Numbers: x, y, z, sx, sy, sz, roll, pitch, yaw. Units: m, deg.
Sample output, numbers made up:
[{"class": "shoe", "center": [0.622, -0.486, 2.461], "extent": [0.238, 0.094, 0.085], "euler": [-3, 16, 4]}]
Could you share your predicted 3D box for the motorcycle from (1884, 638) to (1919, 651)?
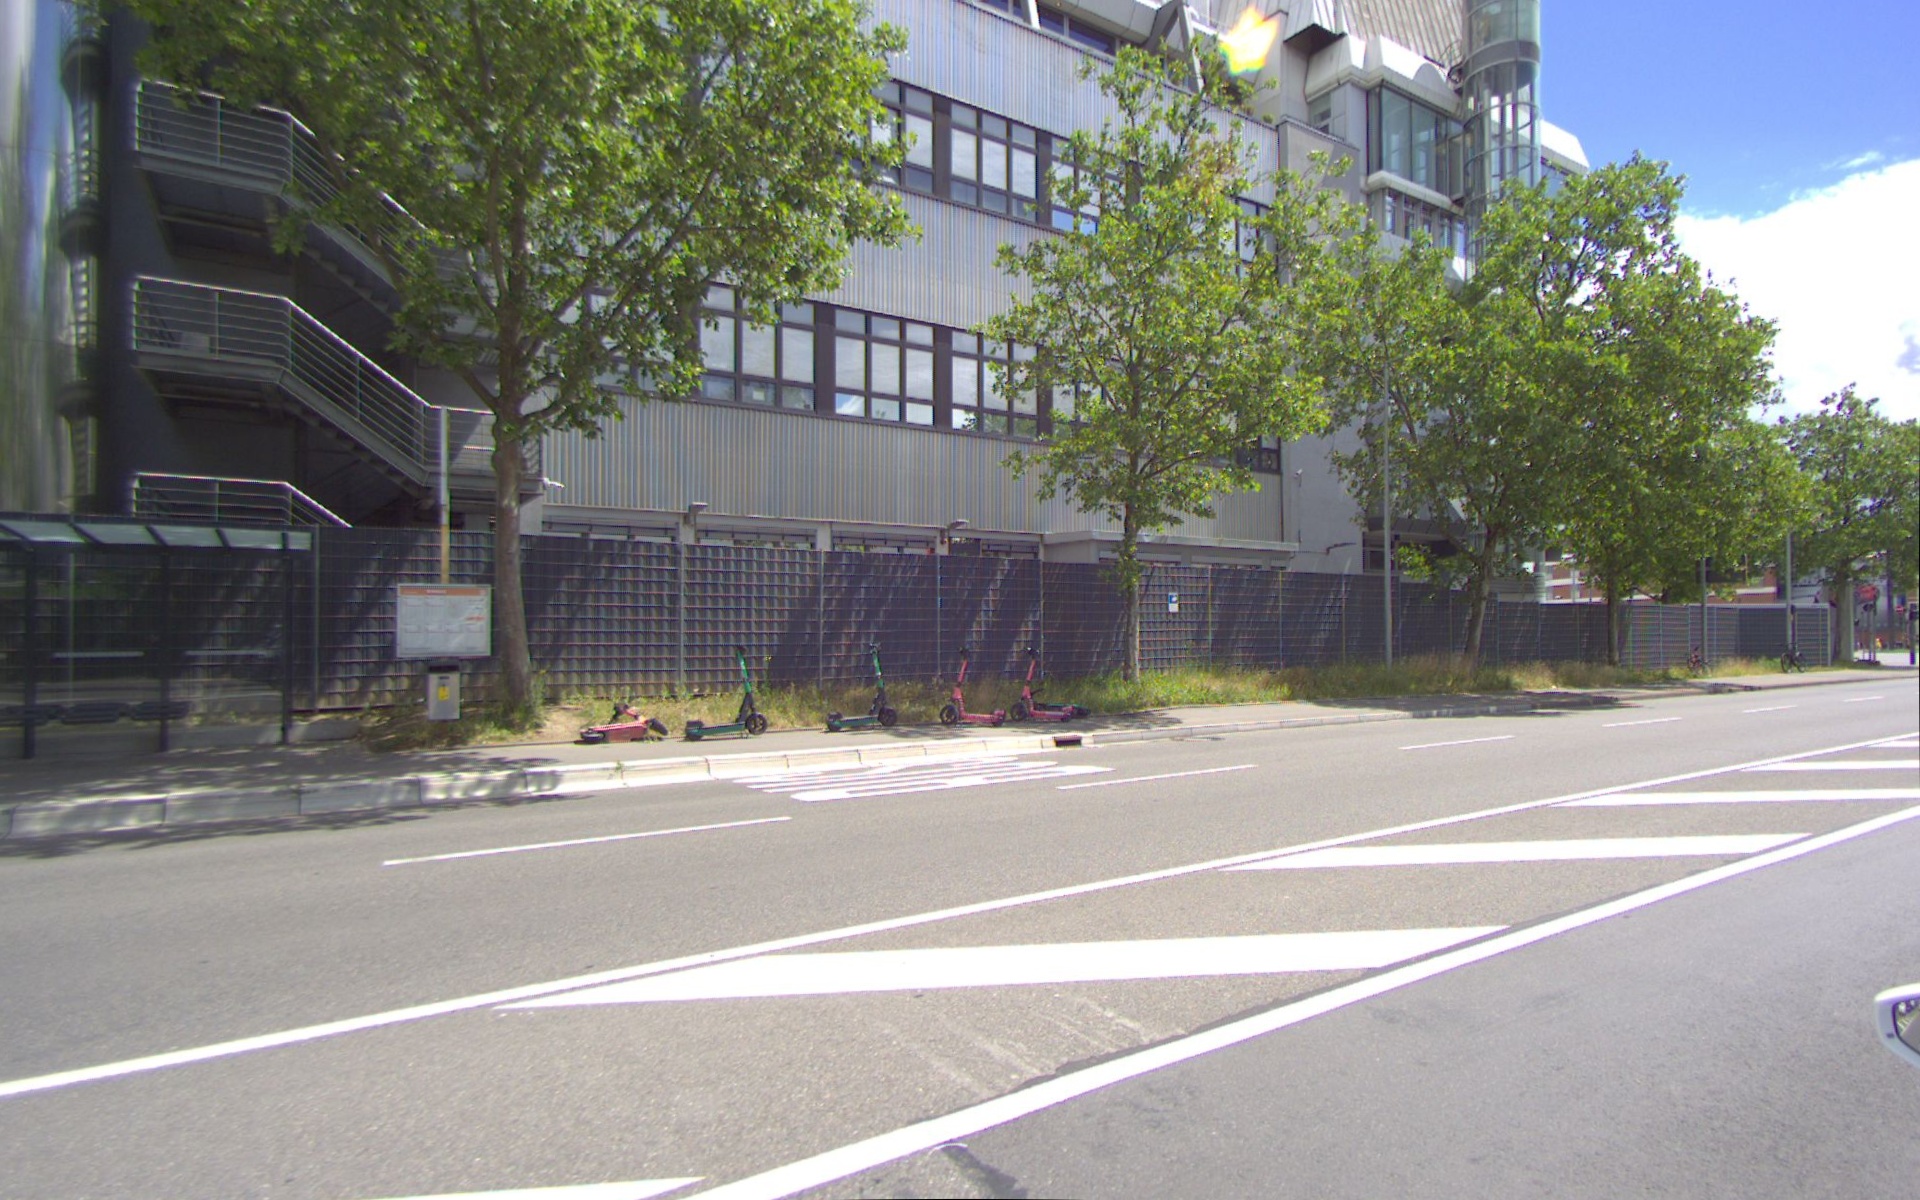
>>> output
[{"class": "motorcycle", "center": [94.904, 4.512, 100.971], "extent": [0.905, 1.211, 2.904], "euler": [2, -1, -14]}]

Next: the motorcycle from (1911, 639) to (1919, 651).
[{"class": "motorcycle", "center": [98.468, 4.626, 101.858], "extent": [0.905, 1.211, 2.904], "euler": [2, -1, -14]}]

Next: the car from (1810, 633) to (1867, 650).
[{"class": "car", "center": [88.638, 4.158, 101.397], "extent": [1.965, 1.520, 3.990], "euler": [2, -1, -12]}]

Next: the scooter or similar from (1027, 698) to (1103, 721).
[{"class": "scooter or similar", "center": [1.855, 1.933, 17.779], "extent": [1.249, 0.327, 0.538], "euler": [0, -1, -8]}]

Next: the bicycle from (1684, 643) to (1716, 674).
[{"class": "bicycle", "center": [25.621, 2.026, 34.796], "extent": [1.234, 1.019, 0.296], "euler": [2, -1, -23]}]

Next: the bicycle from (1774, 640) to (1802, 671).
[{"class": "bicycle", "center": [31.211, 2.081, 37.858], "extent": [1.467, 1.146, 0.295], "euler": [2, -1, -31]}]

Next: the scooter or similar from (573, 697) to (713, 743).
[{"class": "scooter or similar", "center": [-4.322, 1.641, 13.846], "extent": [1.460, 0.385, 1.364], "euler": [2, 2, 2]}]

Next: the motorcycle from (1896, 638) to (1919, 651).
[{"class": "motorcycle", "center": [96.111, 4.525, 100.960], "extent": [0.905, 1.211, 2.904], "euler": [2, -1, -14]}]

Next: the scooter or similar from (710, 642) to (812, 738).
[{"class": "scooter or similar", "center": [-2.804, 1.247, 14.208], "extent": [1.304, 1.251, 0.519], "euler": [0, 2, -34]}]

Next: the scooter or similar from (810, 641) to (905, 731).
[{"class": "scooter or similar", "center": [-1.531, 1.259, 15.022], "extent": [1.304, 1.251, 0.519], "euler": [0, 2, -34]}]

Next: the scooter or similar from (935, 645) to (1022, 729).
[{"class": "scooter or similar", "center": [0.300, 1.380, 16.209], "extent": [1.303, 1.251, 0.520], "euler": [0, 2, -32]}]

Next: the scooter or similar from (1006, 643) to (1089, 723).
[{"class": "scooter or similar", "center": [1.472, 1.378, 16.911], "extent": [1.300, 1.251, 0.521], "euler": [1, 2, -27]}]

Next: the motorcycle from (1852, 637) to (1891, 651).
[{"class": "motorcycle", "center": [91.557, 4.411, 100.912], "extent": [0.905, 1.211, 2.904], "euler": [2, -1, -14]}]
